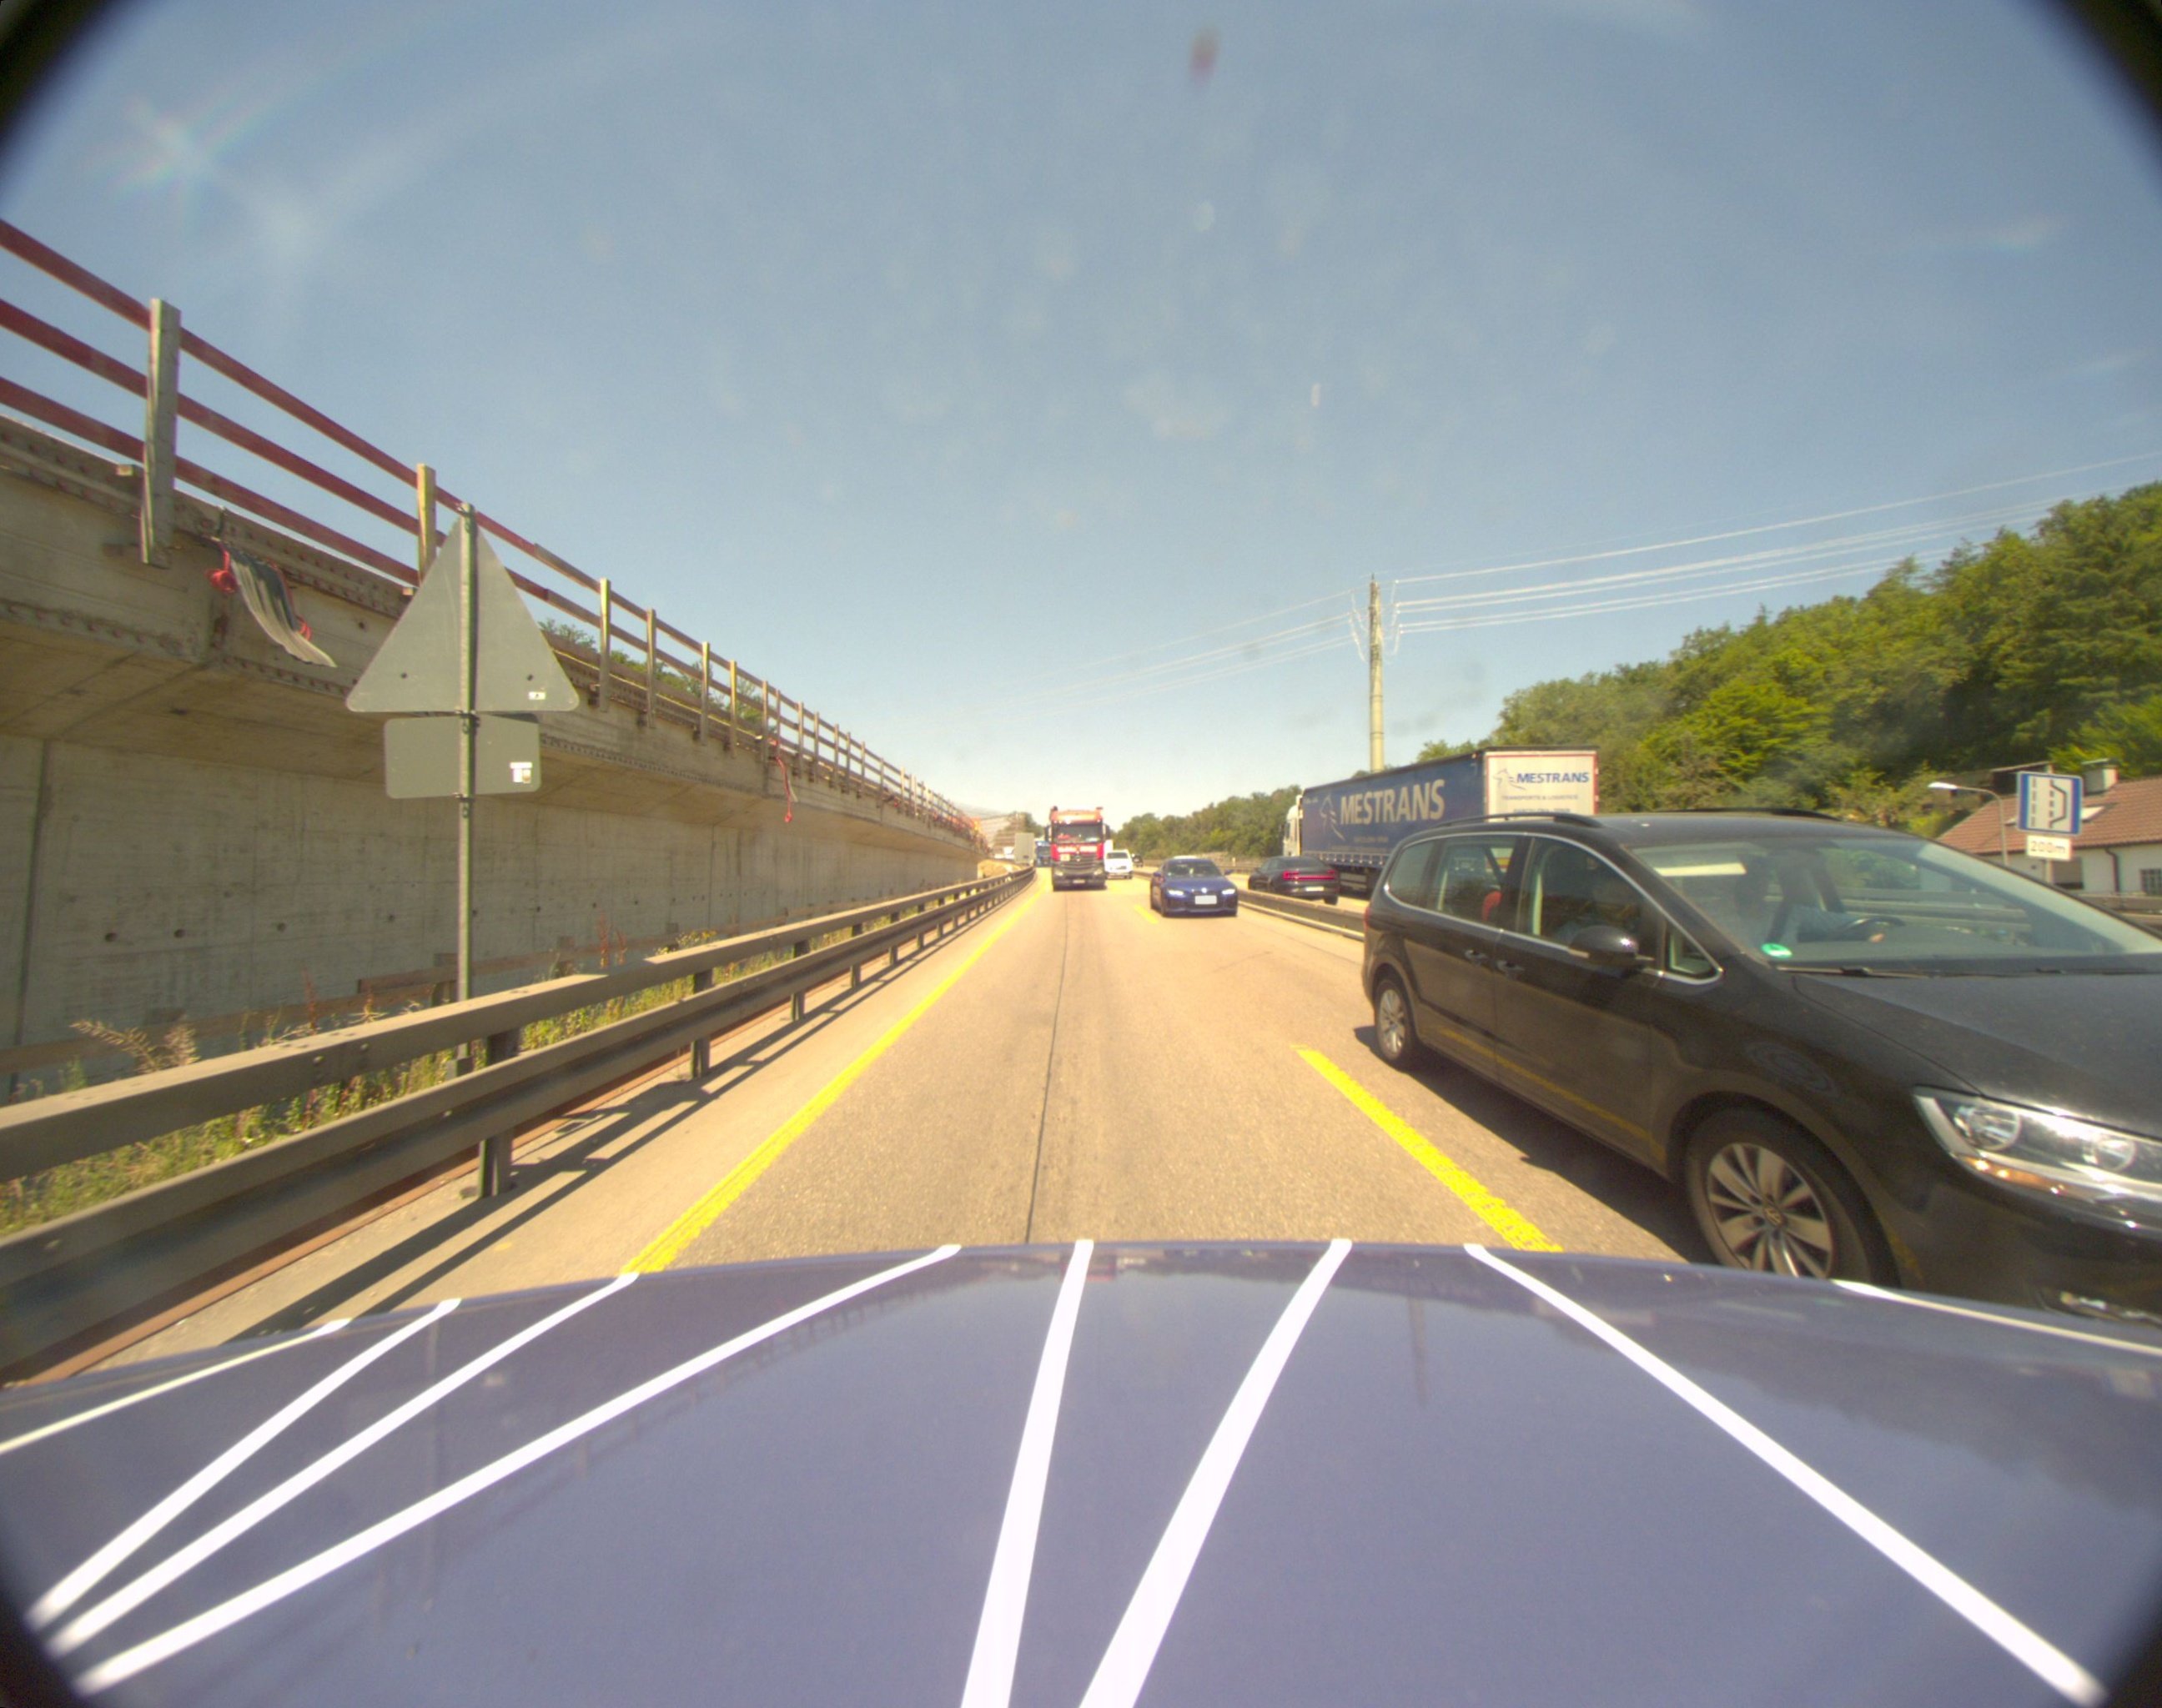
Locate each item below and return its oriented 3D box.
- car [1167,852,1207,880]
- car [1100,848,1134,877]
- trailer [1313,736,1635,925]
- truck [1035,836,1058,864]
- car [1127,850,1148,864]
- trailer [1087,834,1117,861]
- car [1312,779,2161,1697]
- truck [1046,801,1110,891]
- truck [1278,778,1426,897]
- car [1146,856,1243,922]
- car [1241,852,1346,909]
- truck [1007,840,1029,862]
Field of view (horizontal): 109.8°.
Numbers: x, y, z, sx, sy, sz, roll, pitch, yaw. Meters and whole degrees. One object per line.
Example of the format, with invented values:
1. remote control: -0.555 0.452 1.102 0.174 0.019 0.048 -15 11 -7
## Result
1. car: 6.307 0.691 45.573 1.675 1.526 4.190 -1 0 -1
2. car: 2.397 0.538 51.562 1.947 1.858 5.223 -1 0 -1
3. trailer: 10.344 -0.503 22.388 3.143 4.055 11.817 -1 0 -1
4. truck: -5.186 -0.561 111.644 2.673 3.985 10.423 -1 0 -6
5. car: 7.144 0.357 96.382 1.911 1.732 4.659 -1 1 -4
6. trailer: 3.324 -1.030 125.347 3.014 4.140 9.009 -2 0 -10
7. car: 2.925 0.704 3.912 1.861 1.695 5.303 -1 0 0
8. truck: -0.246 -0.482 39.222 2.798 3.986 10.425 -1 1 -1
9. truck: 10.222 -0.568 29.576 3.143 4.055 6.878 -1 0 -1
10. car: 2.886 0.838 20.346 1.896 1.546 4.786 -1 0 0
11. car: 6.345 0.741 23.259 1.855 1.537 4.558 -1 0 -1
12. truck: -12.640 -0.612 151.532 2.913 4.208 9.228 -1 1 -14
